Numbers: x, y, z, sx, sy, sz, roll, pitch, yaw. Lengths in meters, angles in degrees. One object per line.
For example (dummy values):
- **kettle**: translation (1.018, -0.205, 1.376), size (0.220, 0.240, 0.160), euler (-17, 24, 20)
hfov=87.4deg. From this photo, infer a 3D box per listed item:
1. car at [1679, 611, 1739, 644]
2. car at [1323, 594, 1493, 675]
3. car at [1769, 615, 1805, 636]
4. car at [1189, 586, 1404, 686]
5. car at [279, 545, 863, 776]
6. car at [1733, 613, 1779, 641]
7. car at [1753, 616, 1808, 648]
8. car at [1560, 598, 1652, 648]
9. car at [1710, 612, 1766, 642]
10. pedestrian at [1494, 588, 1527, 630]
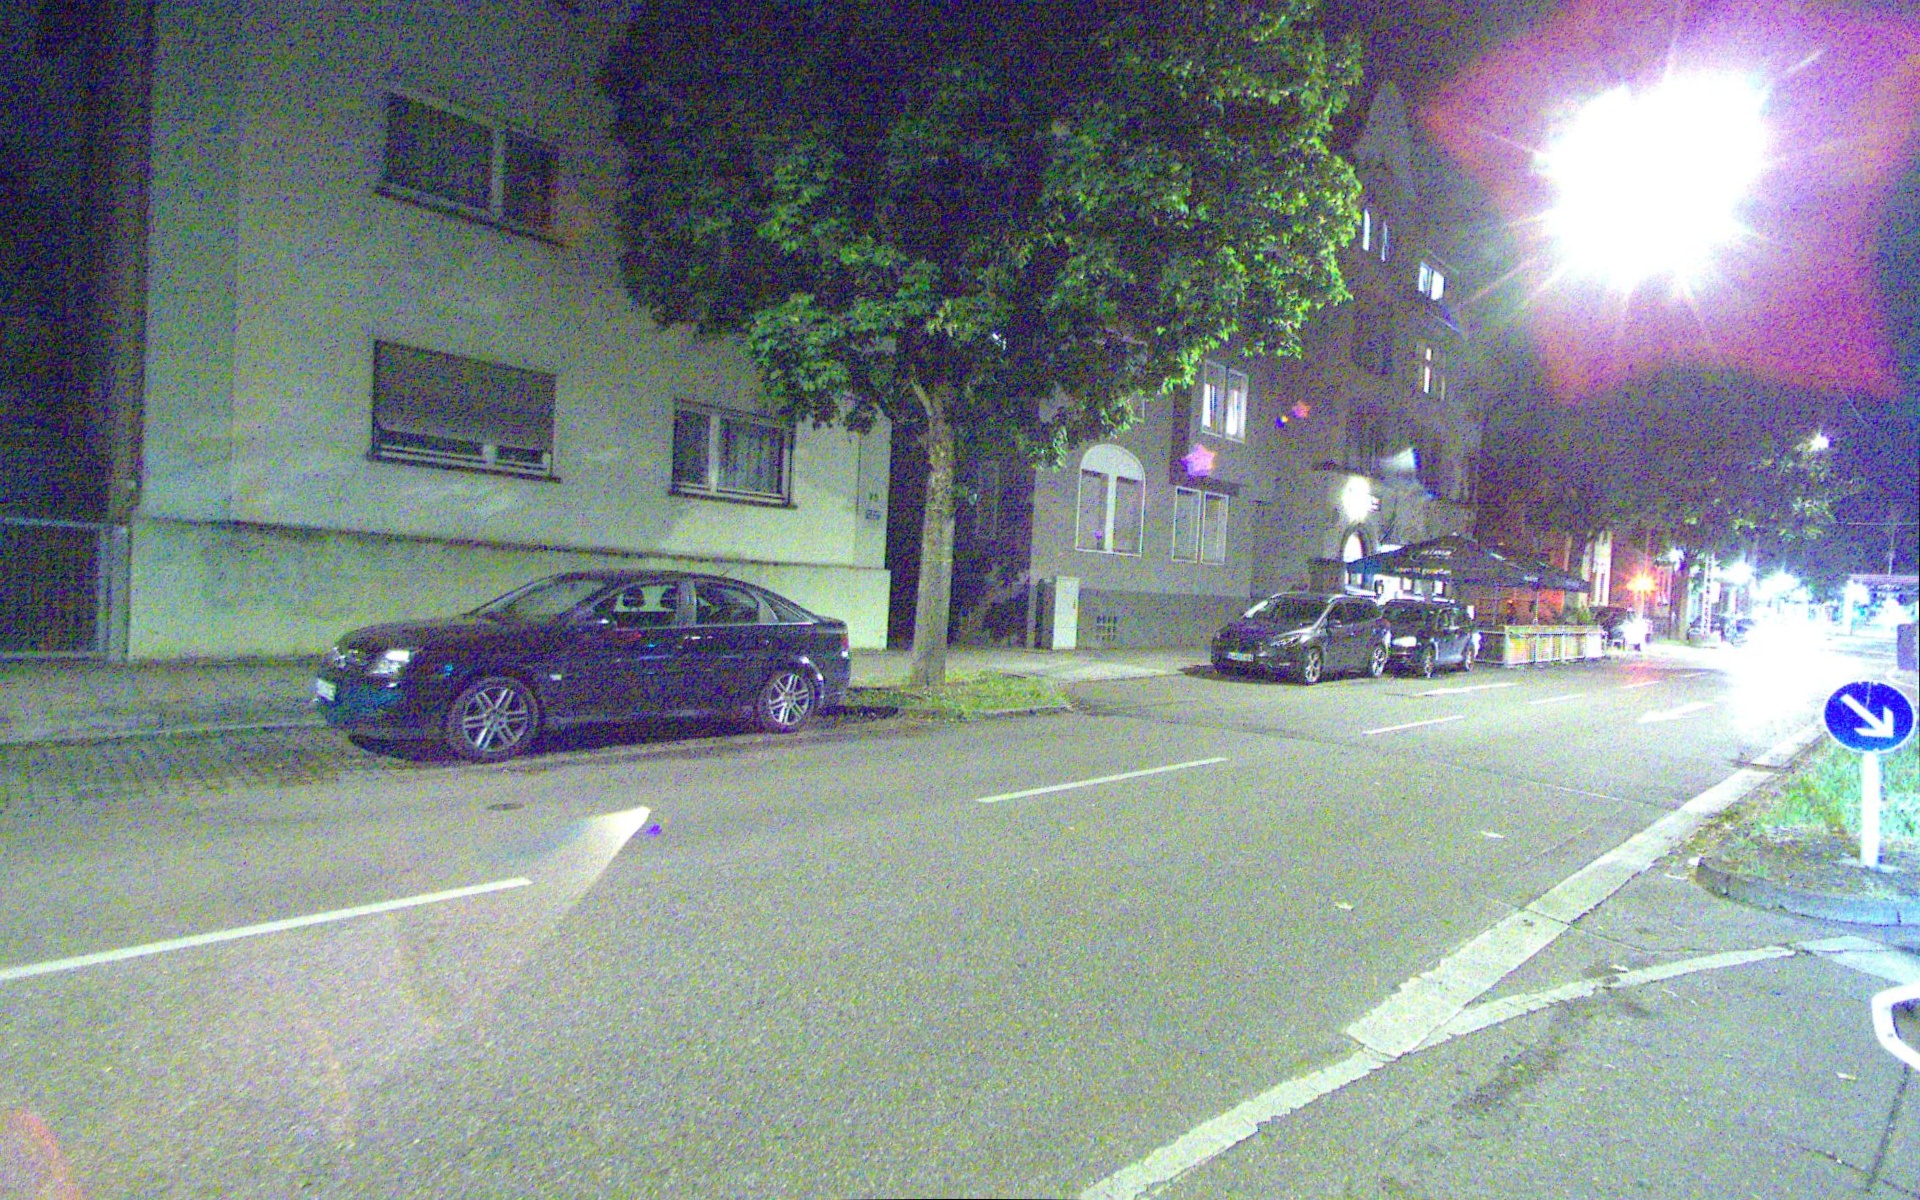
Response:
- **car**: translation (38.739, 1.410, 51.926), size (3.670, 1.511, 1.578), euler (2, 4, -41)
- **car**: translation (9.780, 0.724, 21.765), size (4.415, 1.453, 1.842), euler (2, 3, -45)
- **car**: translation (63.282, 1.919, 76.863), size (1.765, 1.434, 4.102), euler (6, 4, 43)
- **car**: translation (6.180, 0.612, 18.186), size (1.842, 1.499, 4.444), euler (5, 2, 45)
- **car**: translation (-3.126, 0.399, 8.789), size (1.840, 1.453, 4.379), euler (6, 3, 42)
- **car**: translation (49.051, 1.635, 61.902), size (1.765, 1.511, 3.976), euler (8, 5, 43)
- **car**: translation (40.661, 1.562, 49.759), size (3.974, 1.449, 1.698), euler (1, 1, -45)
- **car**: translation (23.966, 0.860, 37.231), size (3.996, 1.618, 1.867), euler (2, 3, -44)
- **car**: translation (44.862, 1.557, 57.889), size (4.299, 1.511, 1.767), euler (1, 5, -43)
- **pedestrian**: translation (23.059, 0.377, 42.065), size (1.113, 1.713, 0.705), euler (1, 2, -35)
